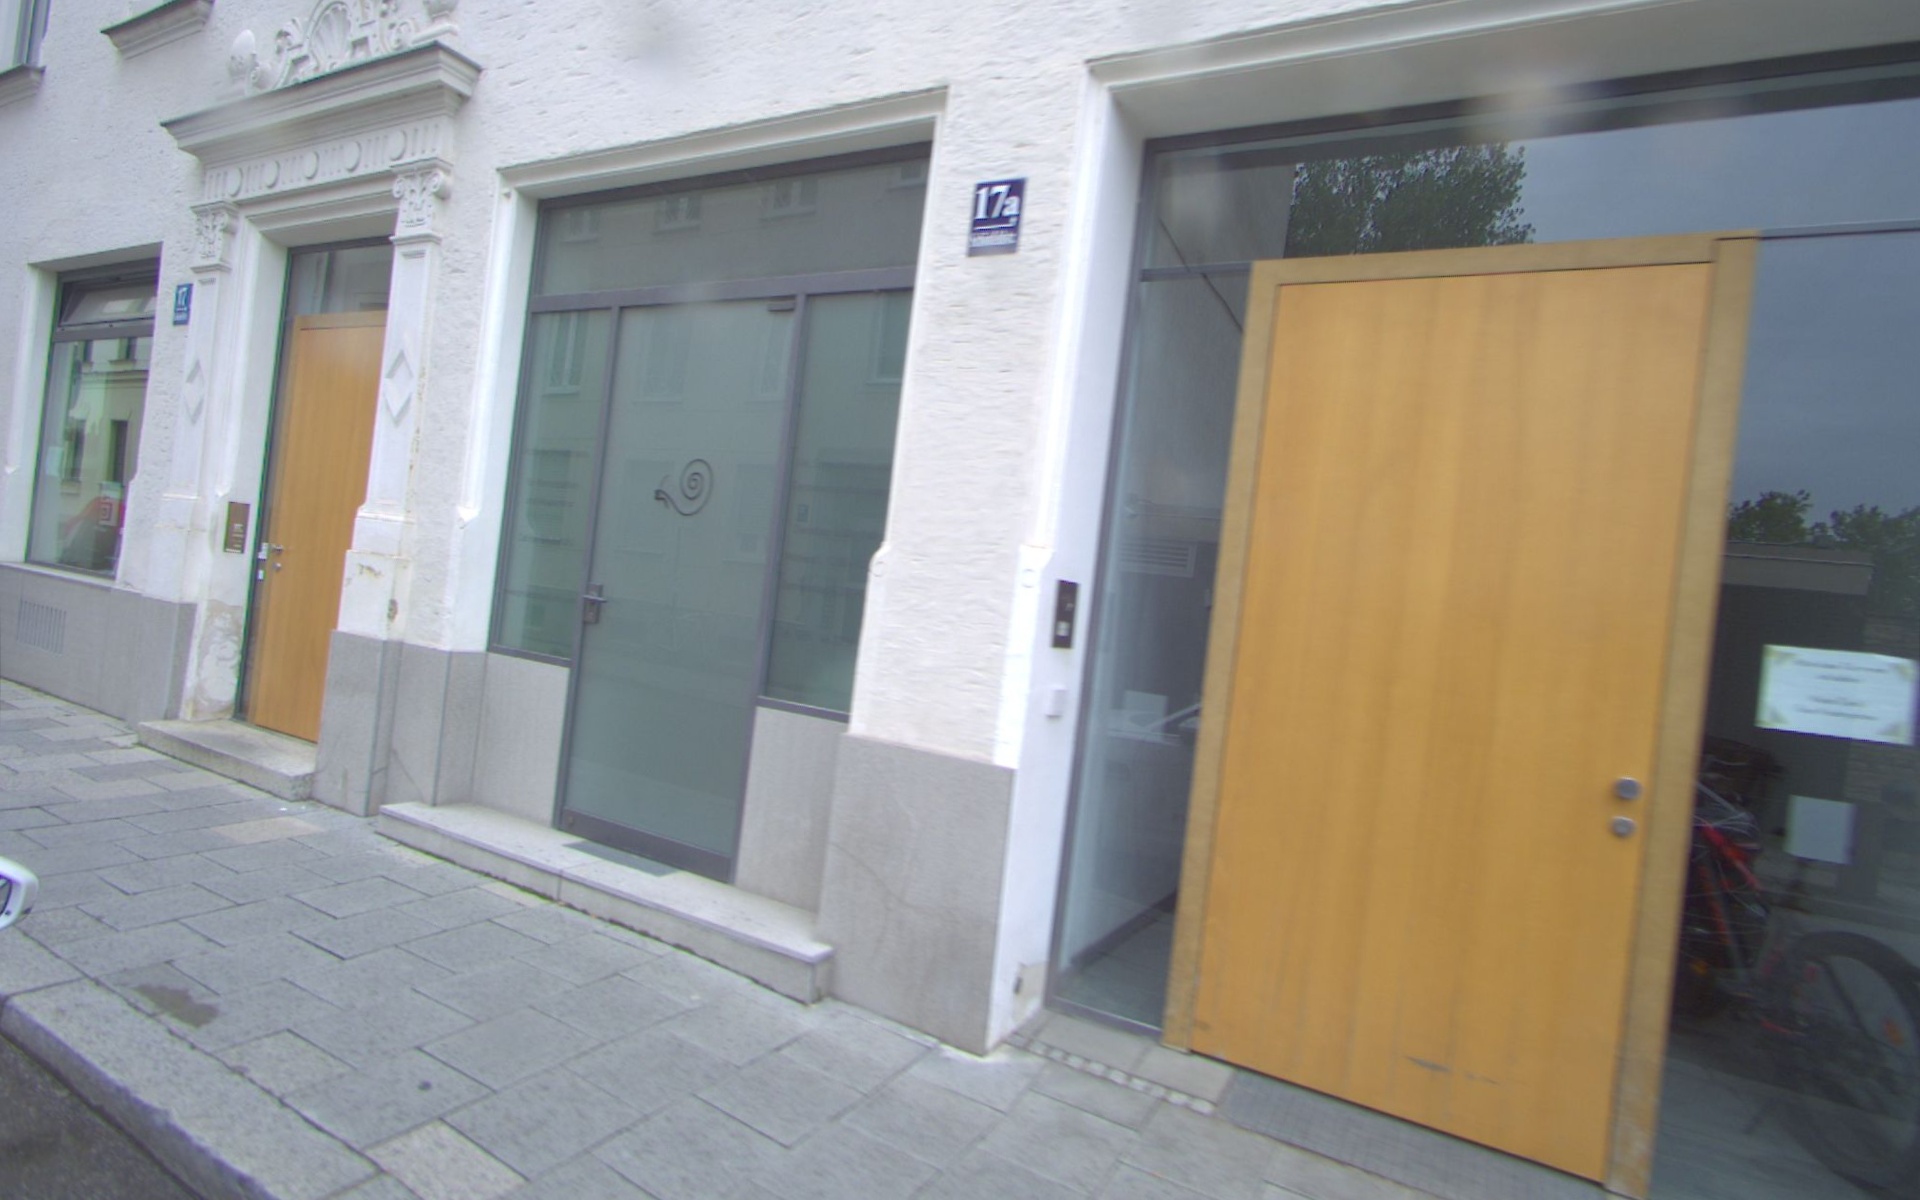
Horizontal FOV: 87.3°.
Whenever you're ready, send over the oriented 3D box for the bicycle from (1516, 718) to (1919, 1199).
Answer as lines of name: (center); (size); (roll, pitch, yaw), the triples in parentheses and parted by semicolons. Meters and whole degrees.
bicycle: (2.637, 1.106, 3.602); (0.744, 1.046, 1.771); (7, 4, 20)
